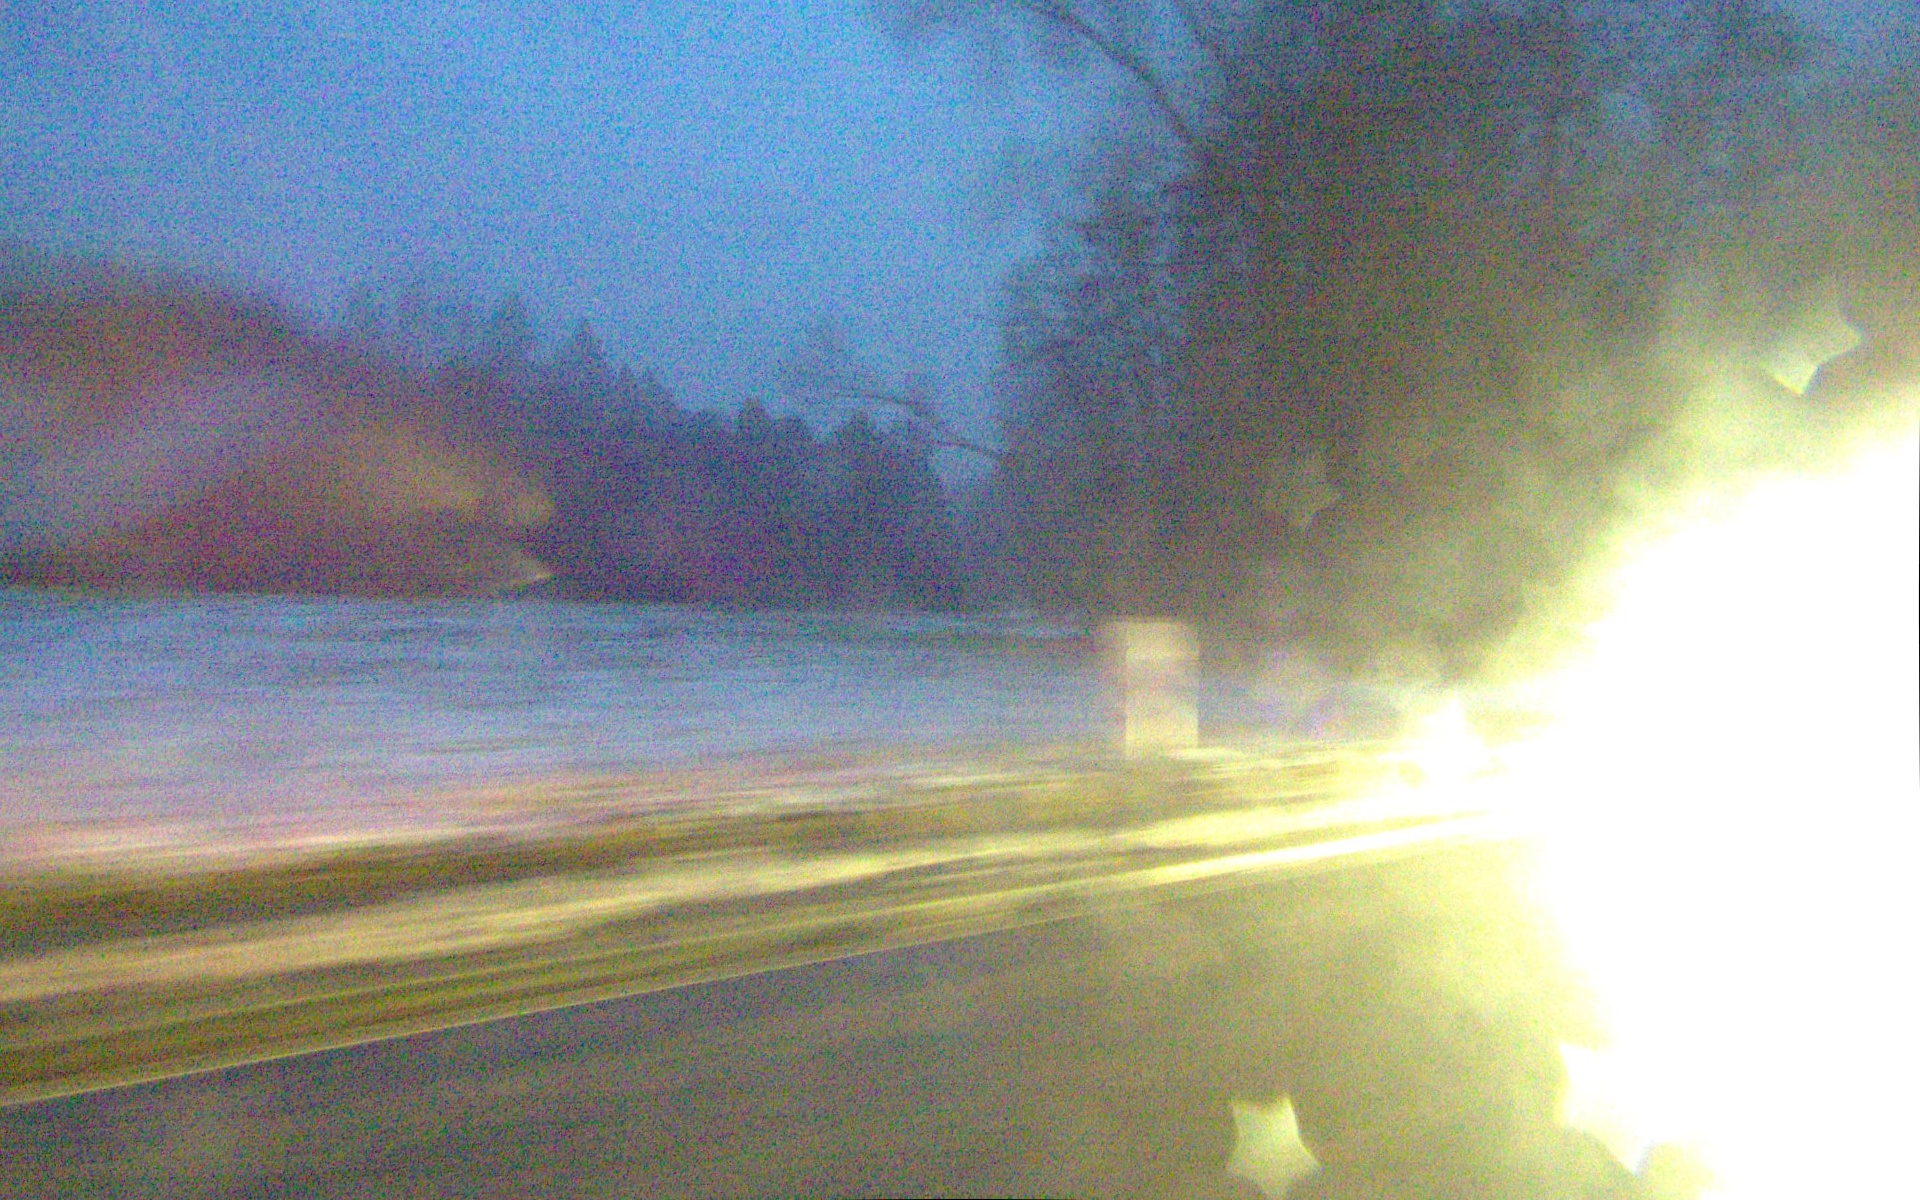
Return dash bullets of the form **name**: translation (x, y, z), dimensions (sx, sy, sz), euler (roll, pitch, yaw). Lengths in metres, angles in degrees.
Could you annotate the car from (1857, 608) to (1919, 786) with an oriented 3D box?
- **car**: translation (10.210, 0.911, 9.085), dimensions (4.153, 1.495, 1.905), euler (2, 1, -30)
